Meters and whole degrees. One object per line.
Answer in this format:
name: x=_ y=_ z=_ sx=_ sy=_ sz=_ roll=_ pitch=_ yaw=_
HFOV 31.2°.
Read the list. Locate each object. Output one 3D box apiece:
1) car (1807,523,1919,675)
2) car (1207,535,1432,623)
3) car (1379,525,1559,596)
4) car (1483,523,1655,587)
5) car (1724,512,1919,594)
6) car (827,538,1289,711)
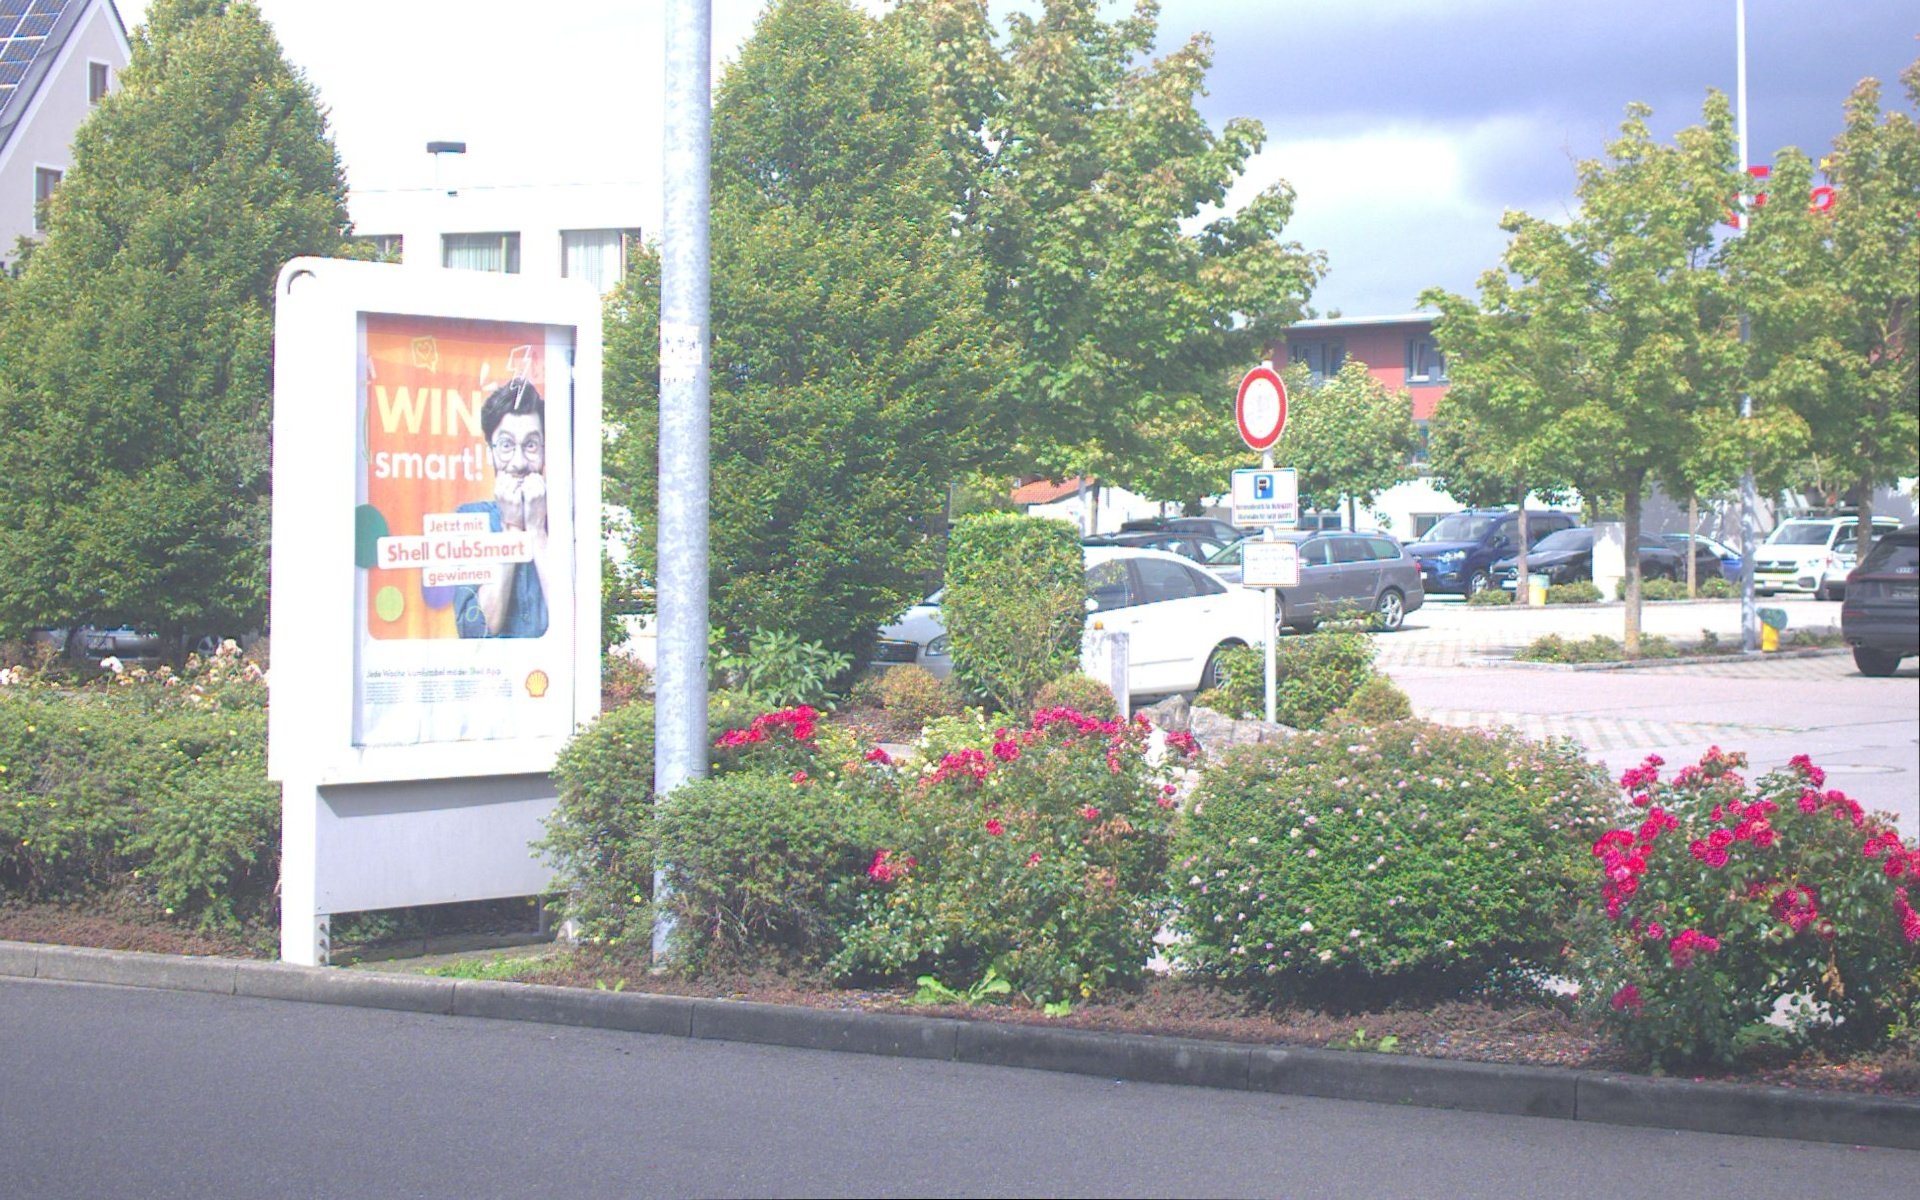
car: x=11.151 y=-0.012 z=36.752 sx=4.491 sy=1.543 sz=1.885 roll=0 pitch=1 yaw=-43
car: x=5.223 y=-0.296 z=49.739 sx=3.218 sy=1.224 sz=1.505 roll=0 pitch=1 yaw=-44
car: x=9.911 y=-0.764 z=66.806 sx=3.379 sy=1.316 sz=1.747 roll=0 pitch=1 yaw=-44
car: x=11.539 y=-0.845 z=65.057 sx=3.409 sy=1.174 sz=1.485 roll=0 pitch=1 yaw=-44
car: x=20.275 y=-1.091 z=80.662 sx=4.864 sy=1.827 sz=2.184 roll=0 pitch=1 yaw=-43
car: x=0.921 y=0.197 z=29.951 sx=4.332 sy=1.399 sz=1.370 roll=0 pitch=1 yaw=-44
